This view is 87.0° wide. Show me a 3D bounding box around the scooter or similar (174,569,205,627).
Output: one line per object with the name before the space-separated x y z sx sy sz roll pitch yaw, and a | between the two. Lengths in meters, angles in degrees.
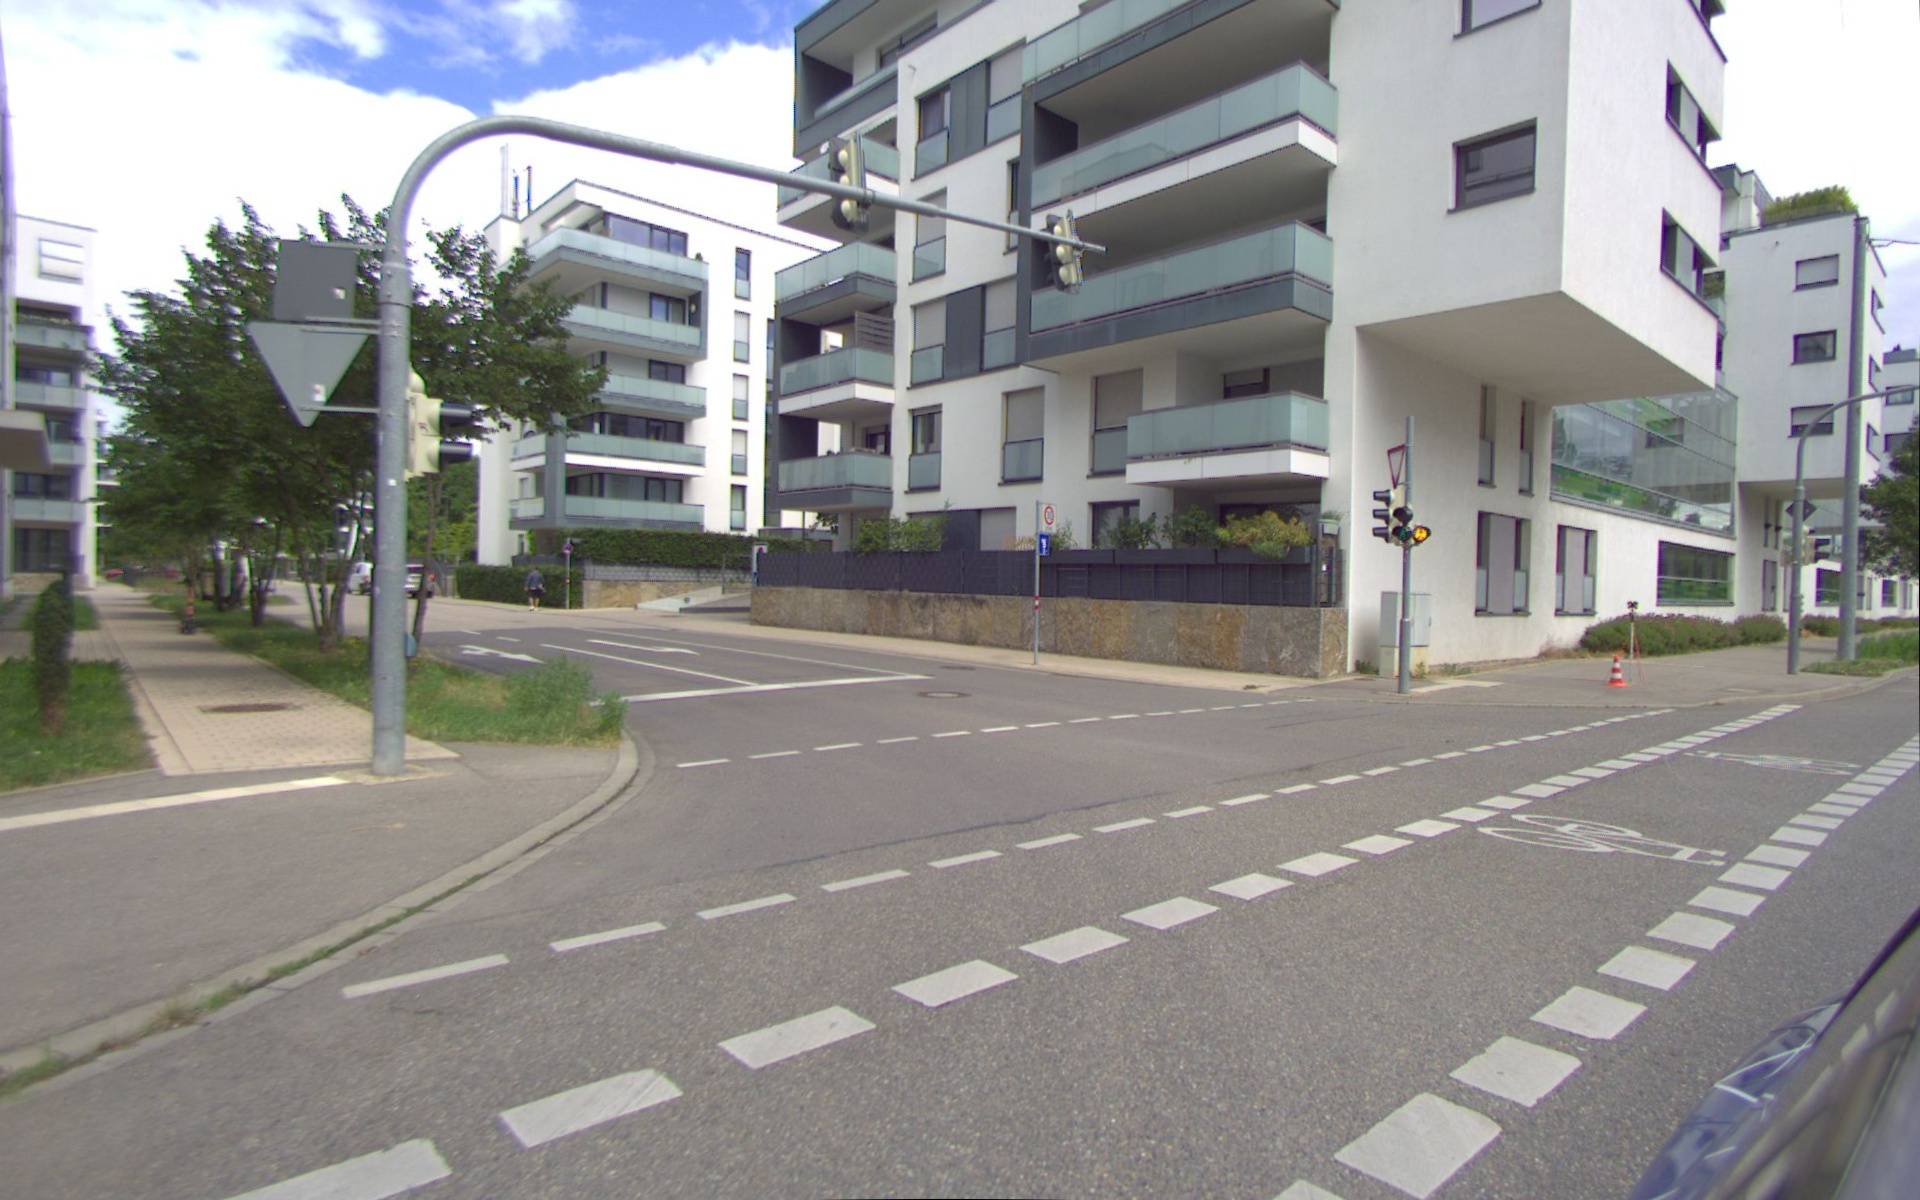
scooter or similar | -17.100 -0.065 22.450 0.474 1.255 1.166 -1 1 -40

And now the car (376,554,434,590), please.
car | -29.687 -1.474 54.088 1.965 1.805 3.995 -1 0 -39

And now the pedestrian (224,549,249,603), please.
pedestrian | -24.547 -0.809 34.327 0.620 1.796 0.606 -1 0 -40

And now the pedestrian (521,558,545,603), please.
pedestrian | -17.503 -0.798 41.501 0.652 1.784 0.717 -1 0 45

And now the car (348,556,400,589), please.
car | -34.326 -1.573 59.228 1.965 1.805 3.995 -1 0 -39
